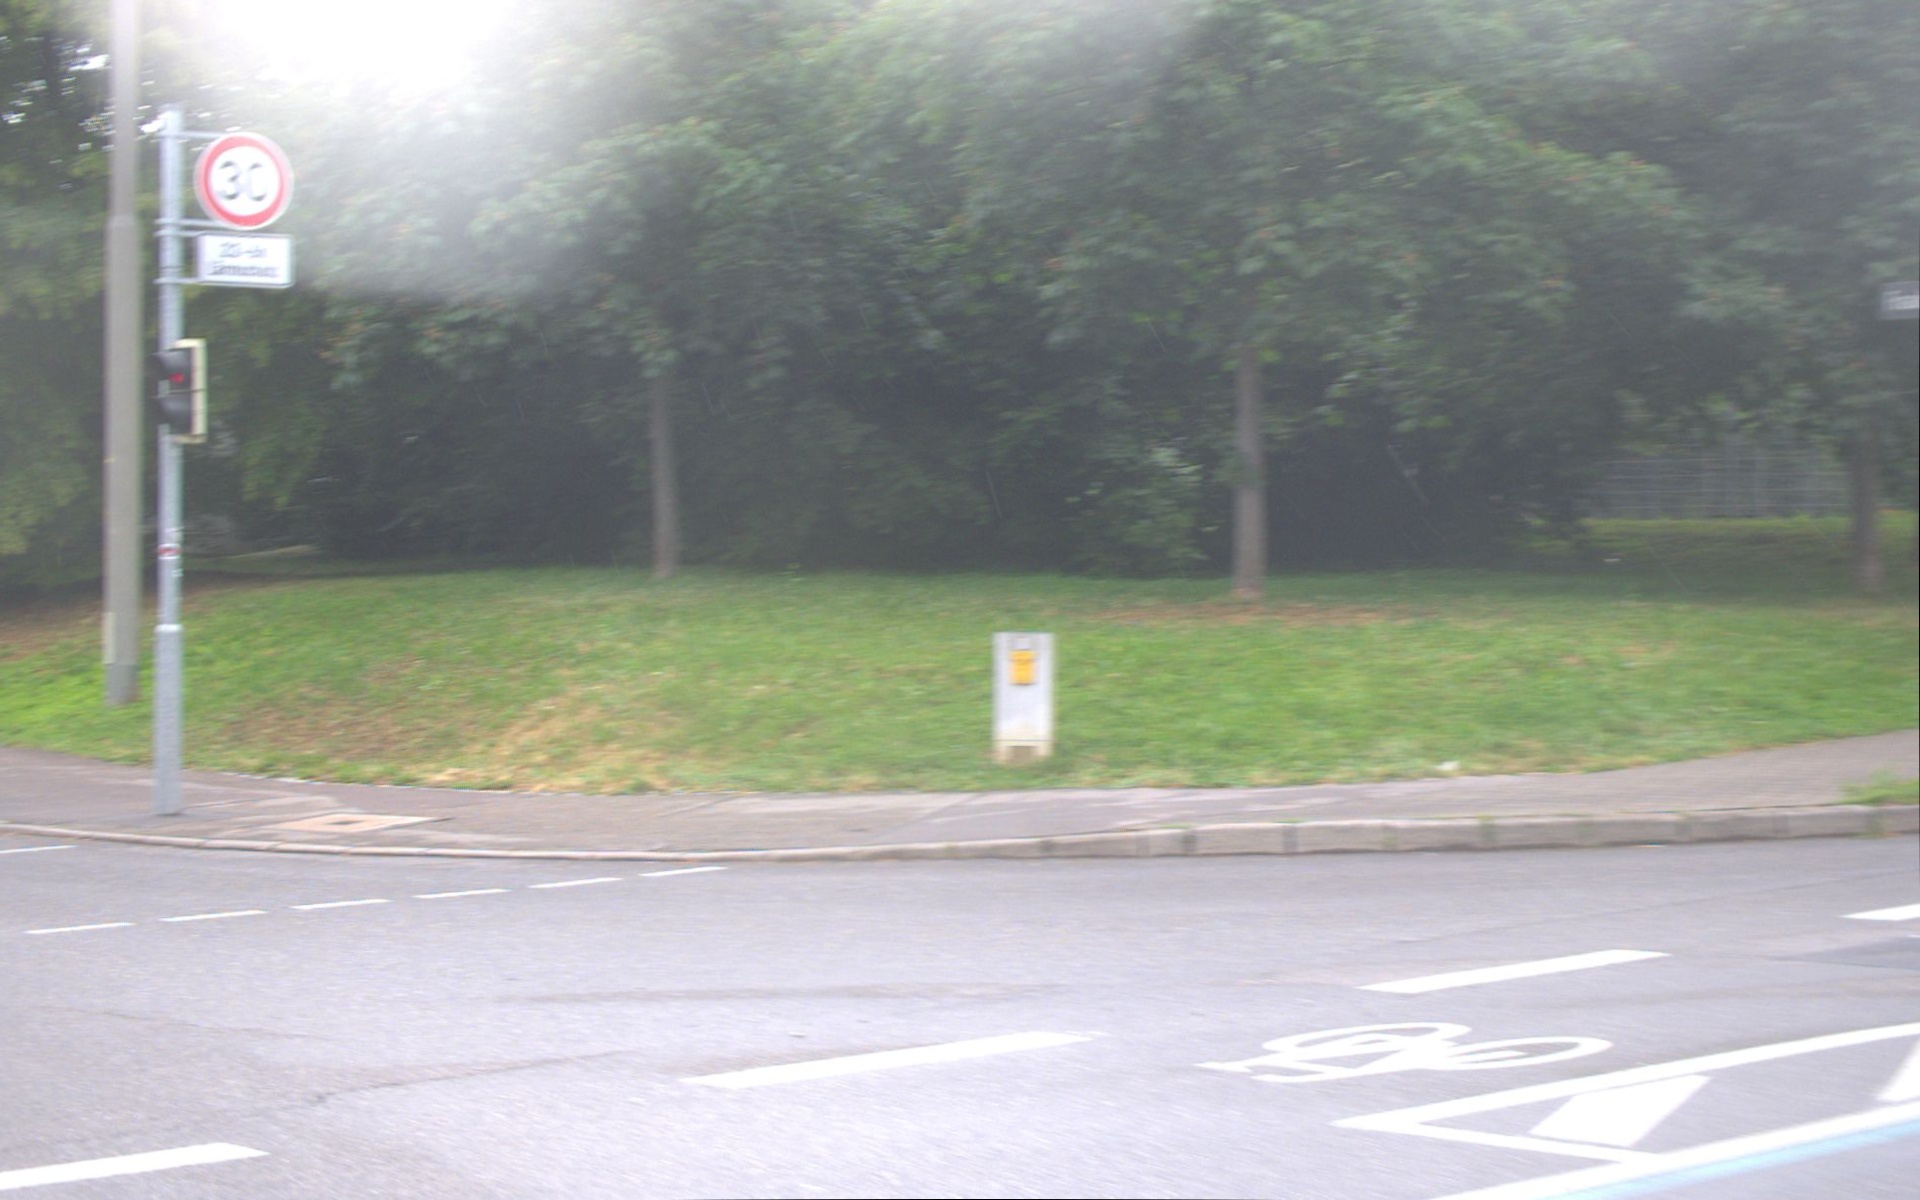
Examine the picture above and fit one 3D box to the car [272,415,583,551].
[{"bbox_3d":[-8.263,-1.842,53.389,4.314,1.773,1.802,-6,4,-26],"label":"car"}]
